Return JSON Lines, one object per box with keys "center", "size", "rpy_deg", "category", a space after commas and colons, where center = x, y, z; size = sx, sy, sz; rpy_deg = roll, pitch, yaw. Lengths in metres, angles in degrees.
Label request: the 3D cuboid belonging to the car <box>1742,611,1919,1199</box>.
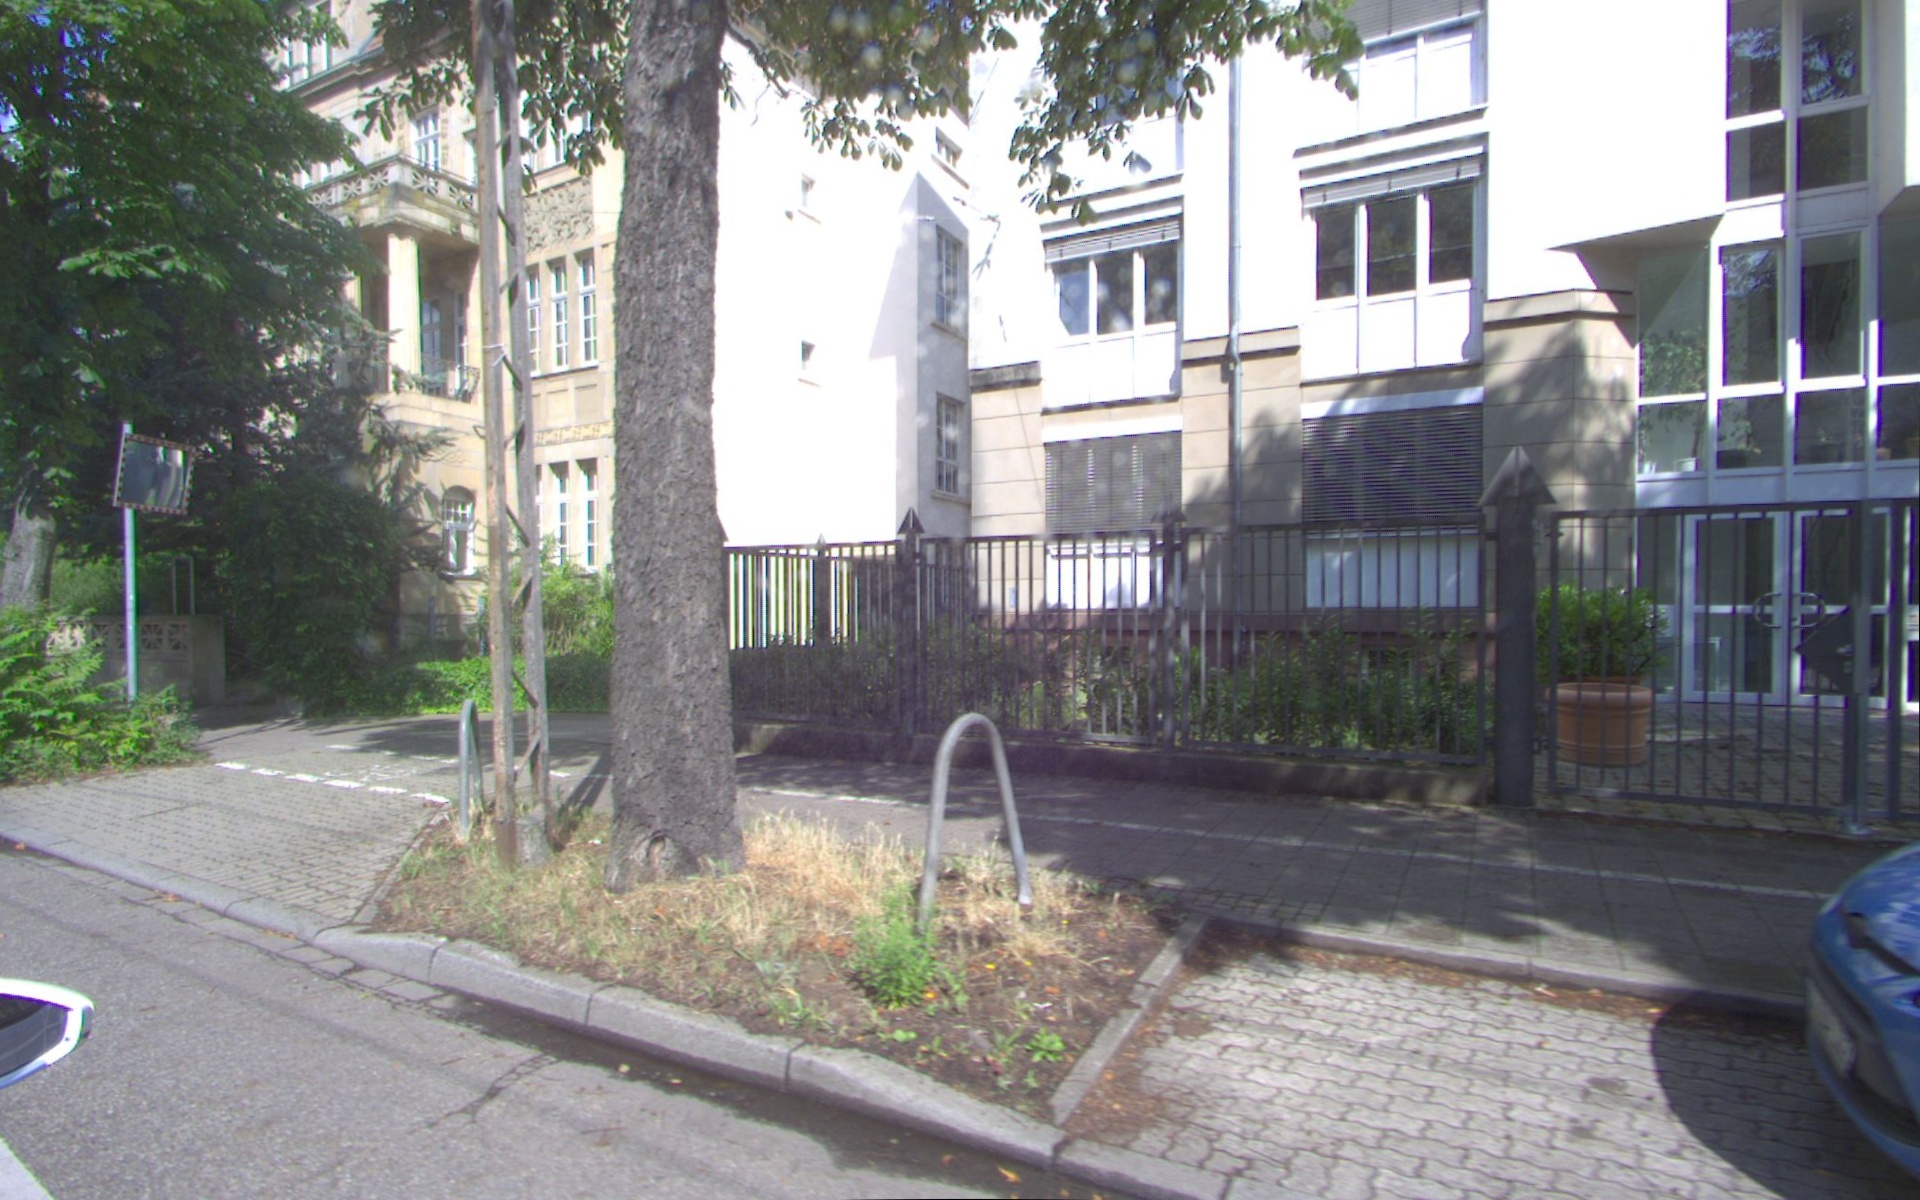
{"center": [4.006, 0.805, 1.859], "size": [3.789, 1.516, 1.621], "rpy_deg": [0, 2, 29], "category": "car"}
